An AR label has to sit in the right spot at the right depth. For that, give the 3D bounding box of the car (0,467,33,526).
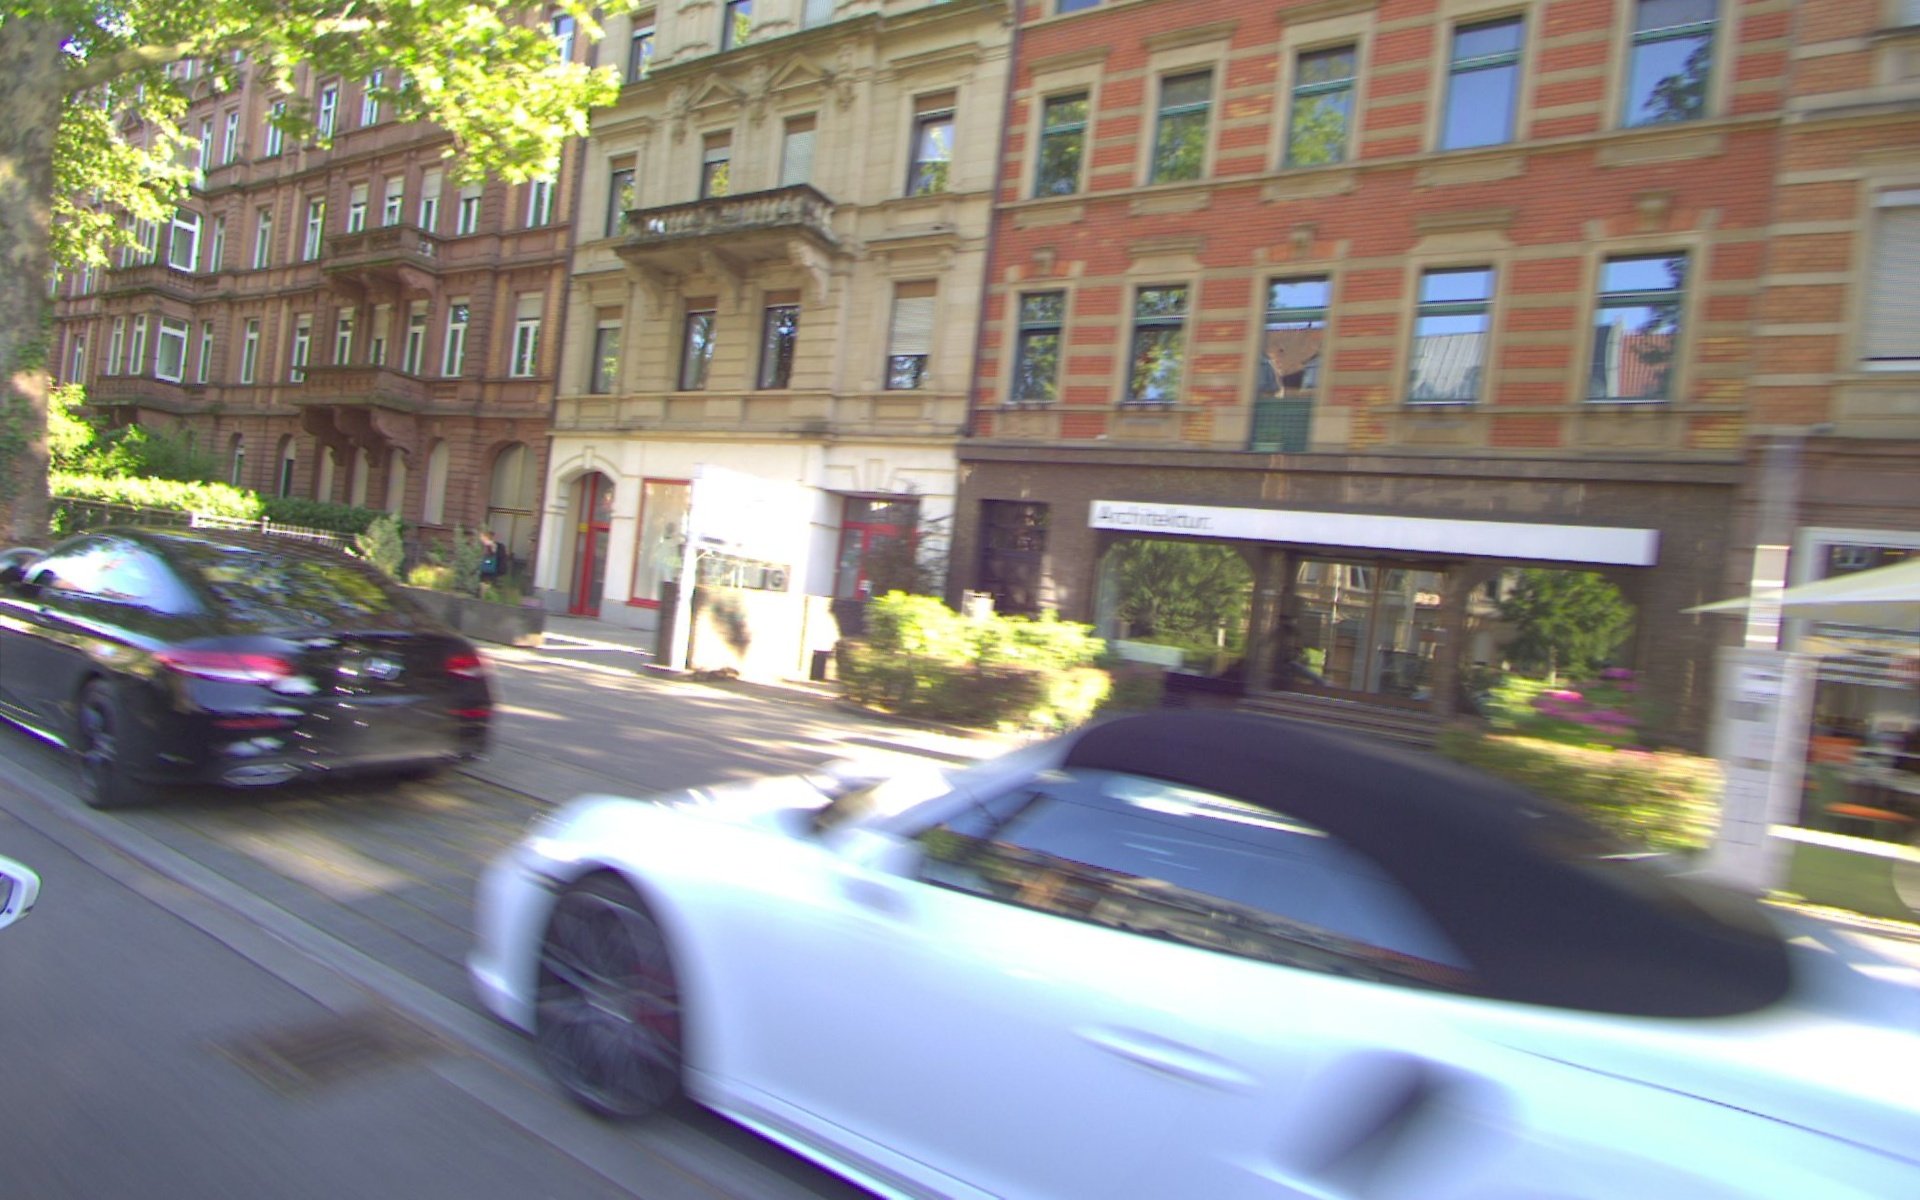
[{"bbox_3d":[-36.141,-3.921,35.824,1.966,2.040,4.179,7,2,30],"label":"car"}]

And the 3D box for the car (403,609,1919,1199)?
[{"bbox_3d":[0.633,0.957,2.580,3.934,1.343,1.832,7,-1,32],"label":"car"}]

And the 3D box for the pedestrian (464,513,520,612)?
[{"bbox_3d":[-10.141,-0.806,21.806,0.623,2.039,0.673,7,1,31],"label":"pedestrian"}]

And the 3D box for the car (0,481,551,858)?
[{"bbox_3d":[-4.879,0.190,6.384,4.727,1.555,1.734,7,-1,33],"label":"car"}]

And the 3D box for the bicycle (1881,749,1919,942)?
[{"bbox_3d":[6.864,1.647,5.992,1.864,1.158,0.475,7,3,32],"label":"bicycle"}]
